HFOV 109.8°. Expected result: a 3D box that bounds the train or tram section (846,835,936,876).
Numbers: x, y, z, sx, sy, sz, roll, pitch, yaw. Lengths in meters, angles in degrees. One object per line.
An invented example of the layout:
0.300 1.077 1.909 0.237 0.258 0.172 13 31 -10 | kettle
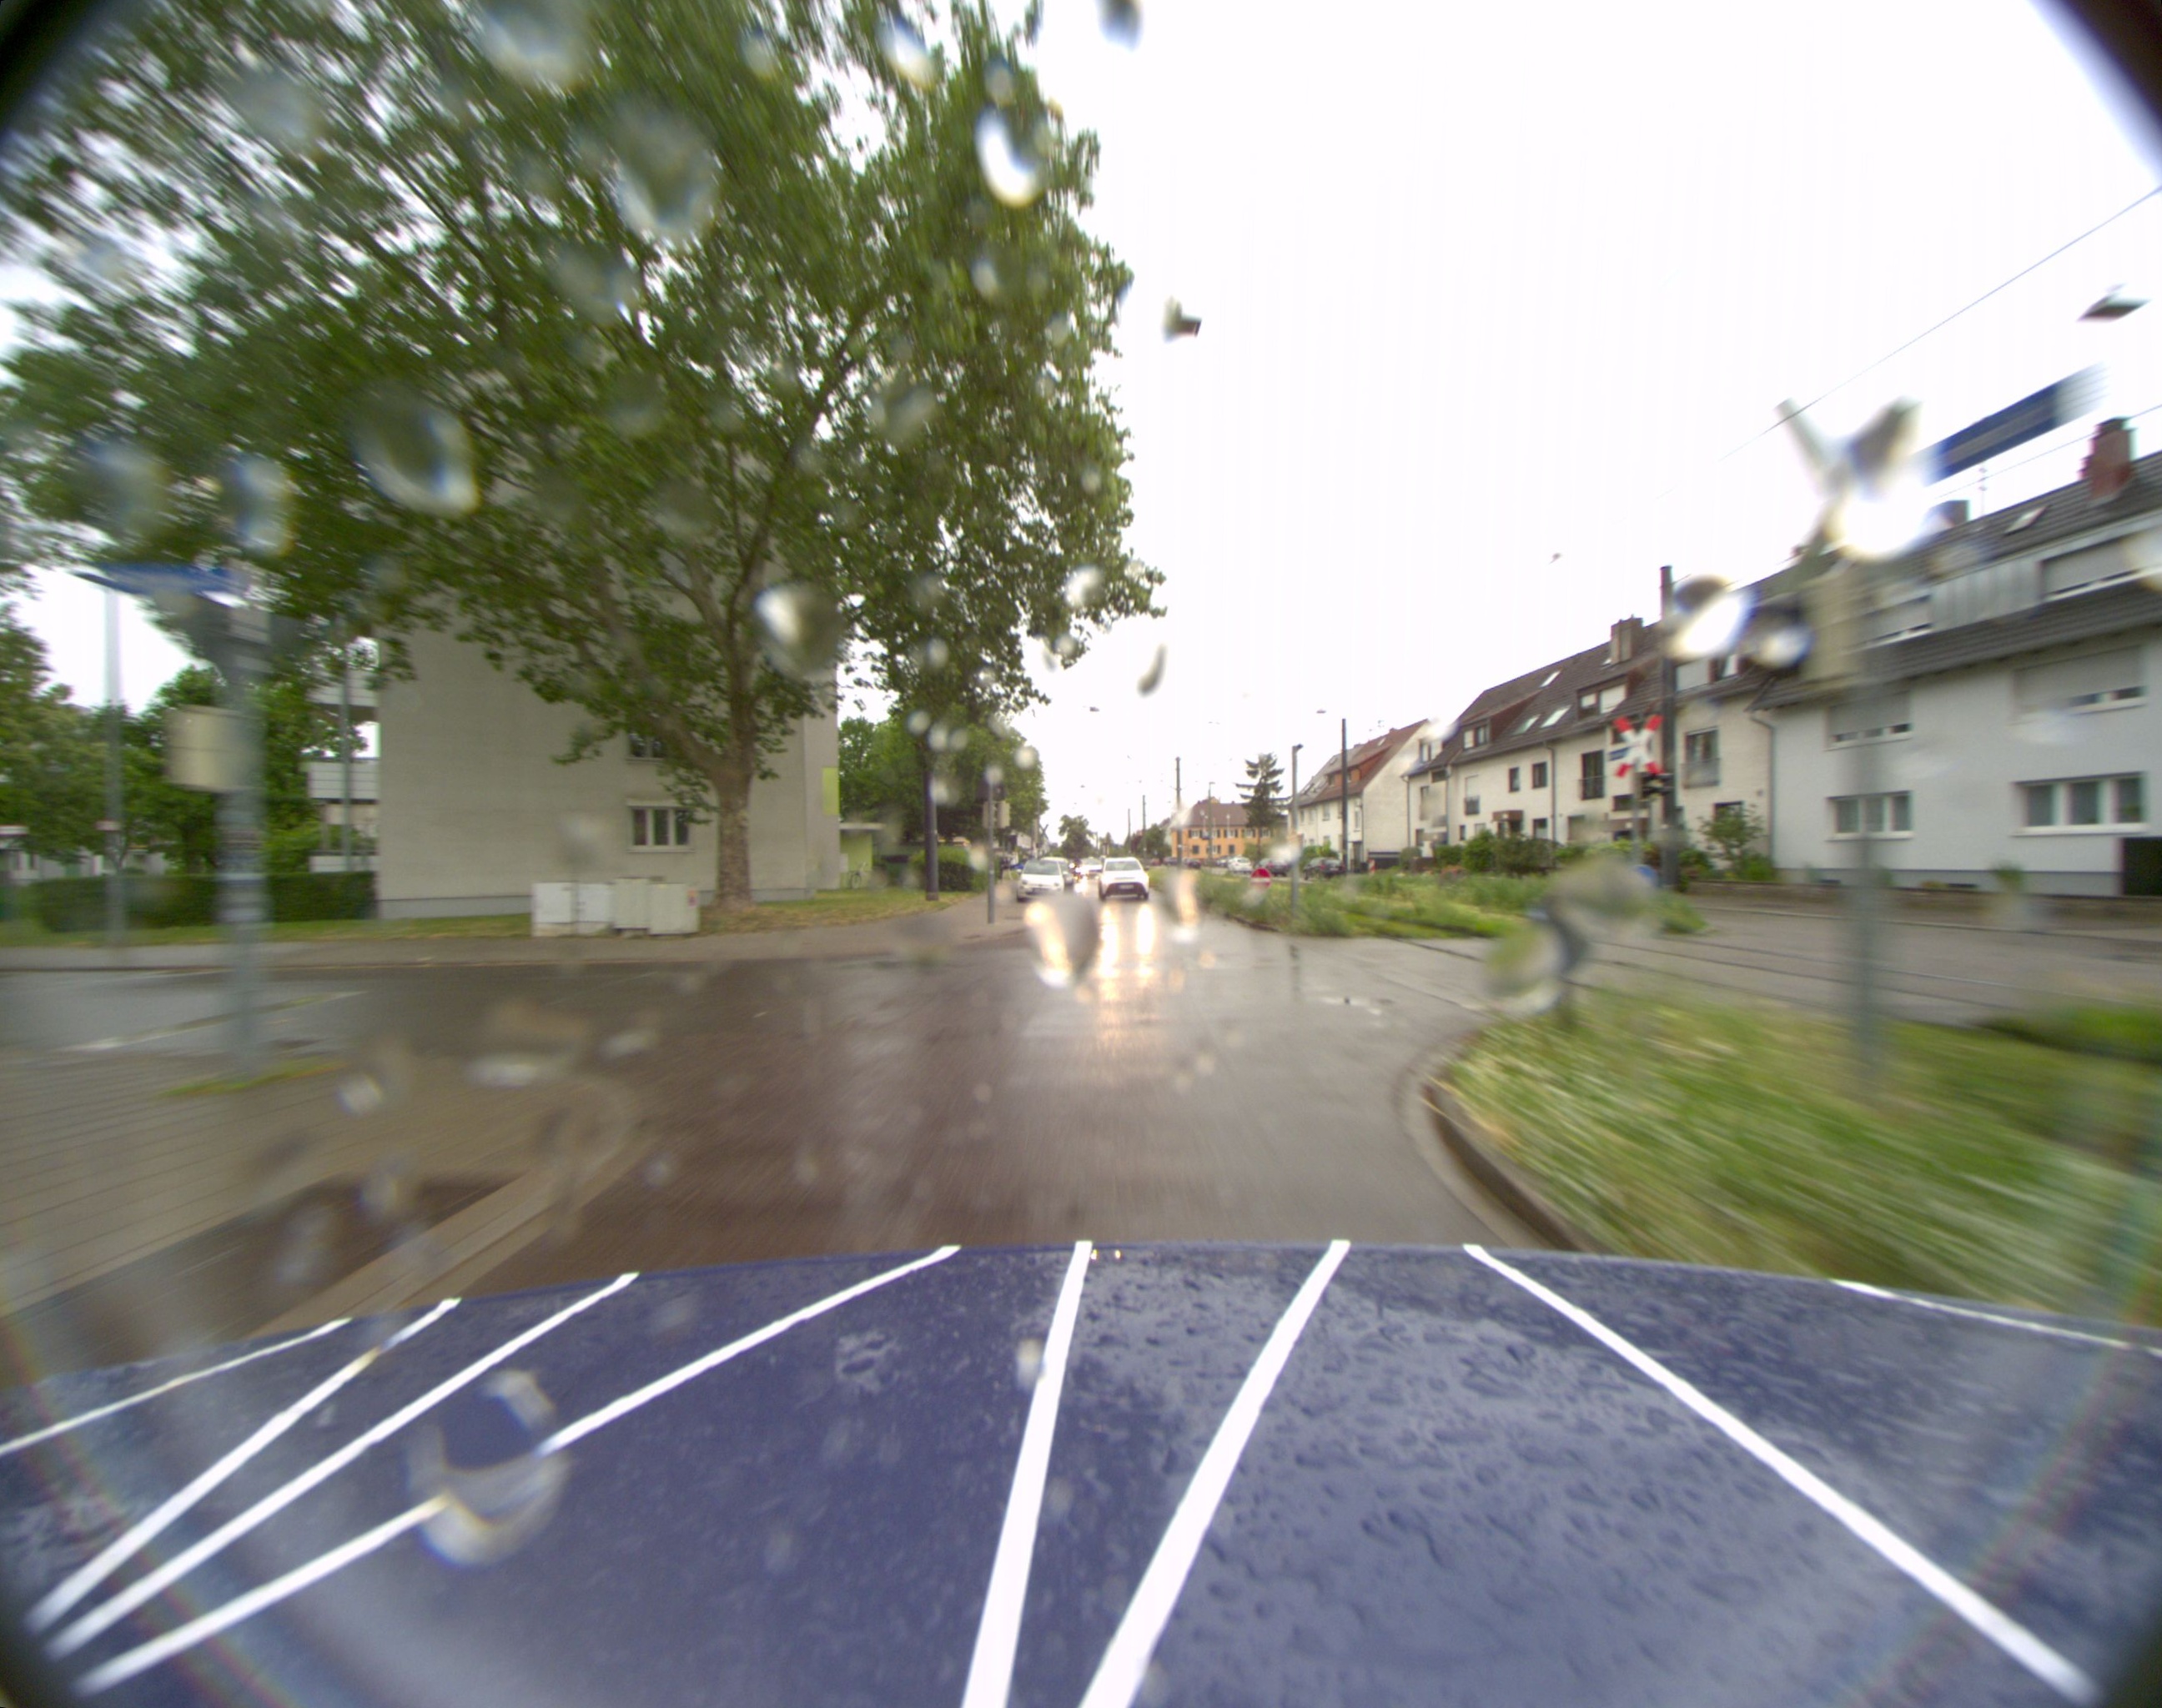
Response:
-16.600 0.172 65.722 2.763 3.320 10.322 0 0 -44 | train or tram section

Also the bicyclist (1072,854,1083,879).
-0.228 0.779 46.880 0.710 1.503 0.715 0 0 -1 | bicyclist

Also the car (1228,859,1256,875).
15.146 1.215 71.802 1.715 1.431 3.999 0 0 -2 | car

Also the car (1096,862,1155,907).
1.603 1.089 28.559 1.854 1.500 4.120 -1 0 -2 | car

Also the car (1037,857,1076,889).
-1.282 0.953 39.540 1.905 1.565 4.111 0 0 -2 | car

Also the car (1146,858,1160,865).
13.858 1.436 146.080 2.096 1.423 4.077 0 0 -2 | car

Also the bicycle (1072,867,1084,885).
-0.218 1.351 46.894 0.710 1.031 2.099 0 0 -1 | bicycle

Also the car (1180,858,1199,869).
14.860 1.259 104.194 1.881 1.520 4.000 0 0 -1 | car

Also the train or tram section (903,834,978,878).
-11.226 0.164 60.249 2.763 3.320 6.382 0 0 -44 | train or tram section

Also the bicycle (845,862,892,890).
-9.059 0.919 32.379 1.864 1.135 0.532 -1 0 -25 | bicycle

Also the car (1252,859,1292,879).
15.173 1.154 60.620 1.892 1.522 4.756 0 0 -2 | car

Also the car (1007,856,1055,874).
-4.478 0.978 68.752 4.007 1.518 1.715 0 0 -33 | car

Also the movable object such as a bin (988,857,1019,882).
-4.524 0.915 44.470 1.155 1.432 1.472 0 0 -40 | movable object such as a bin

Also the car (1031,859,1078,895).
-1.149 0.937 32.867 1.905 1.440 4.183 0 0 -2 | car

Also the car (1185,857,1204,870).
14.866 1.225 99.512 1.912 1.581 4.000 0 0 -1 | car

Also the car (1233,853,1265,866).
22.647 0.742 102.360 3.995 1.586 1.914 -2 0 7 | car

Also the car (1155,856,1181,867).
14.109 1.191 123.336 3.996 1.712 1.673 -2 0 3 | car

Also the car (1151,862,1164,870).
13.803 2.107 137.335 1.885 1.423 4.077 0 0 -2 | car

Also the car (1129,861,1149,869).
12.560 2.429 164.776 3.998 1.637 1.893 0 0 -4 | car

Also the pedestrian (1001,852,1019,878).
-4.890 0.748 52.295 1.020 1.764 0.863 0 0 -30 | pedestrian

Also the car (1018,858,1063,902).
-1.436 0.910 28.046 1.562 1.510 3.999 0 0 -1 | car

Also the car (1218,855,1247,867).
21.122 0.935 105.837 3.993 1.586 1.915 -2 0 13 | car

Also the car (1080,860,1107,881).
0.934 1.238 57.250 1.854 1.500 4.120 0 0 -2 | car

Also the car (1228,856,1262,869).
21.434 1.073 99.443 3.997 1.586 1.914 -1 0 1 | car

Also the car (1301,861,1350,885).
15.376 1.167 47.914 1.777 1.417 3.937 0 0 0 | car
